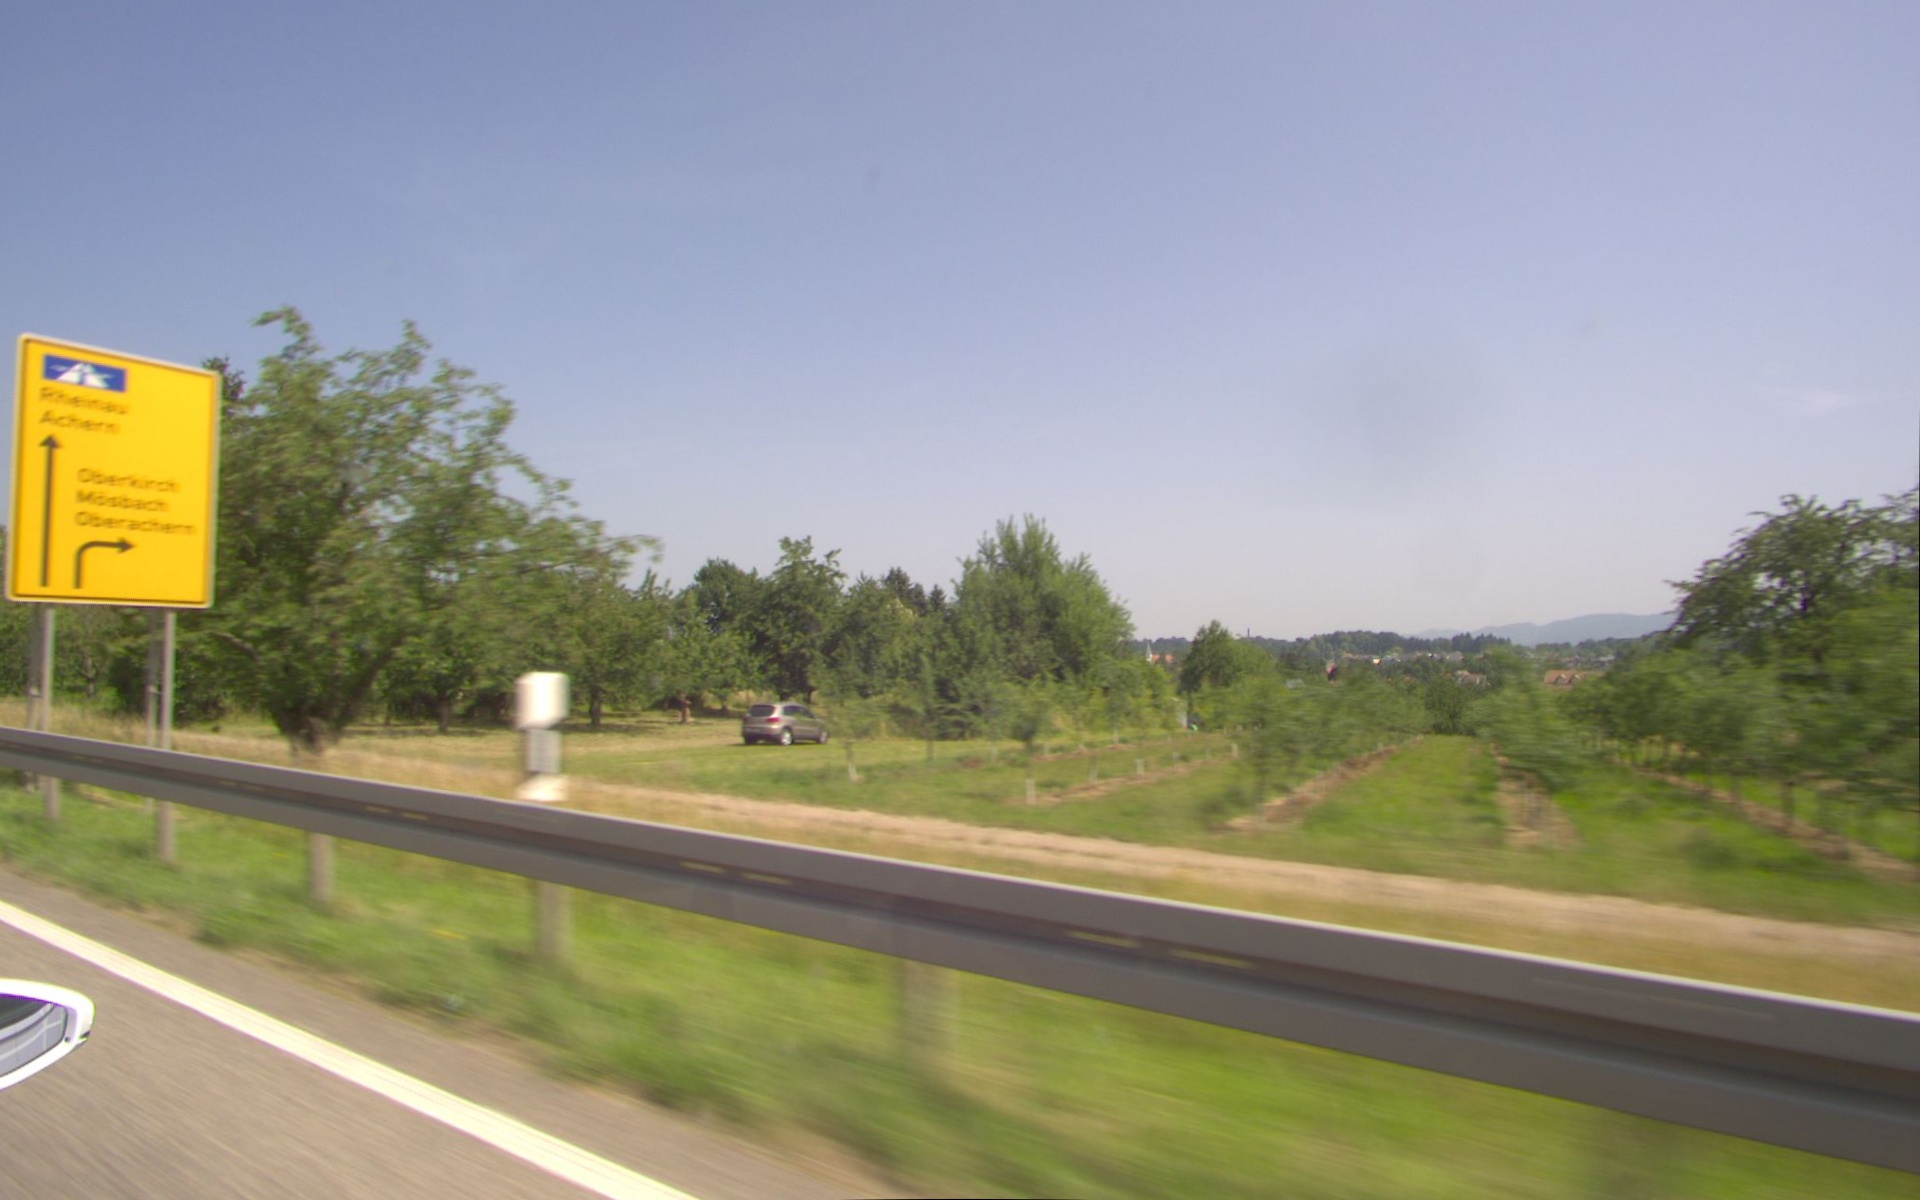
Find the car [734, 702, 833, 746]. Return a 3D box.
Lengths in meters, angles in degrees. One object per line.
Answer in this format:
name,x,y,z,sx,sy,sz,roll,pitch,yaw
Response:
car,-6.751,4.747,38.745,1.826,1.552,4.087,-1,-6,23
